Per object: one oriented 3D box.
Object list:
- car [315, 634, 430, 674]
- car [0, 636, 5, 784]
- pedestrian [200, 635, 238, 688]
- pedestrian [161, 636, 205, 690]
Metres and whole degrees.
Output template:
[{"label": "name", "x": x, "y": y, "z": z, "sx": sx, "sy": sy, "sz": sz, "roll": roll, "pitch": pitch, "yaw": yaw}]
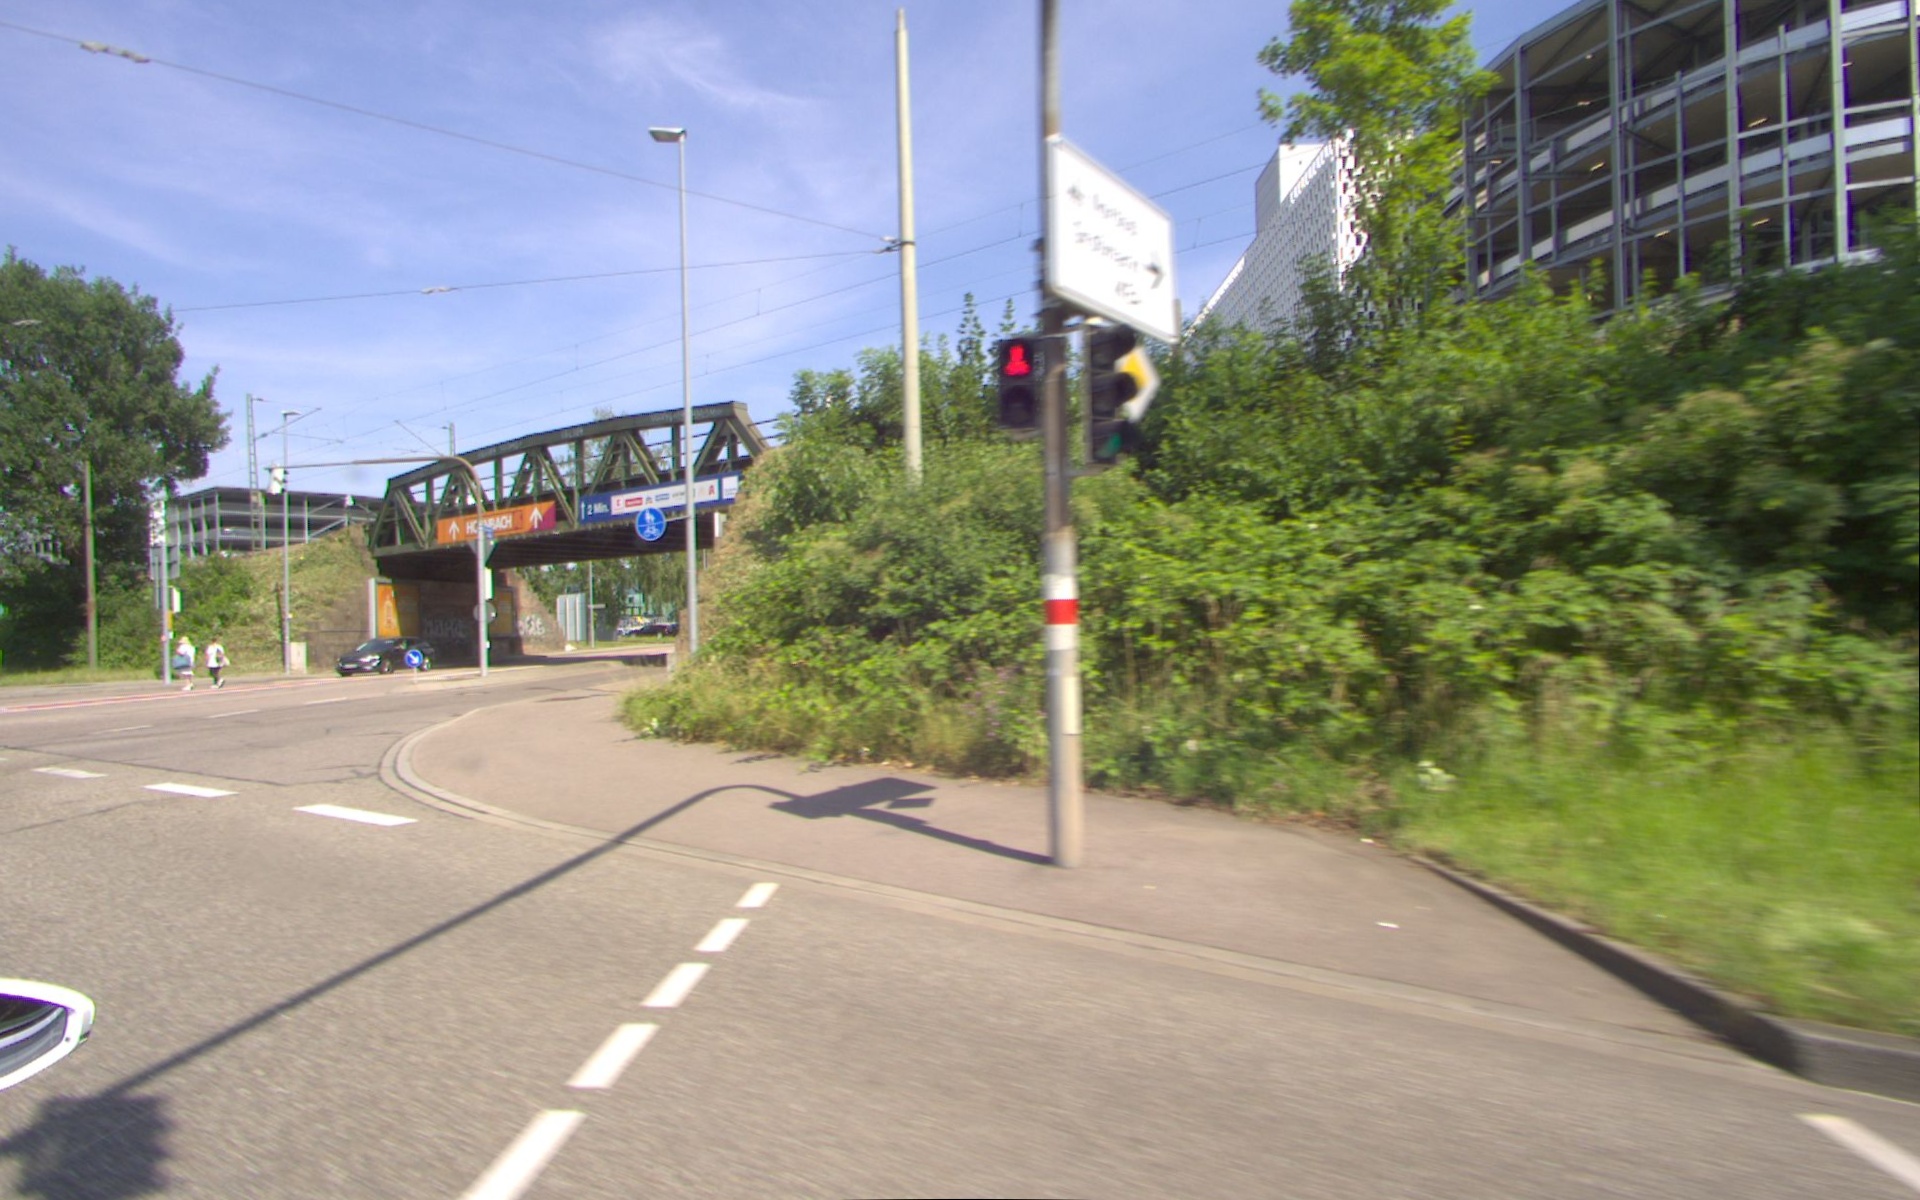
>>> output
[{"label": "car", "x": -23.271, "y": 2.103, "z": 39.877, "sx": 1.961, "sy": 1.427, "sz": 4.502, "roll": -1, "pitch": -1, "yaw": -1}, {"label": "car", "x": -11.643, "y": 1.111, "z": 10.294, "sx": 3.977, "sy": 1.471, "sz": 1.672, "roll": -1, "pitch": -2, "yaw": 31}, {"label": "pedestrian", "x": -23.290, "y": 1.919, "z": 31.479, "sx": 0.767, "sy": 1.600, "sz": 0.727, "roll": -1, "pitch": 0, "yaw": 35}, {"label": "pedestrian", "x": -23.902, "y": 1.923, "z": 30.806, "sx": 0.767, "sy": 1.632, "sz": 0.865, "roll": -1, "pitch": 0, "yaw": 34}]
